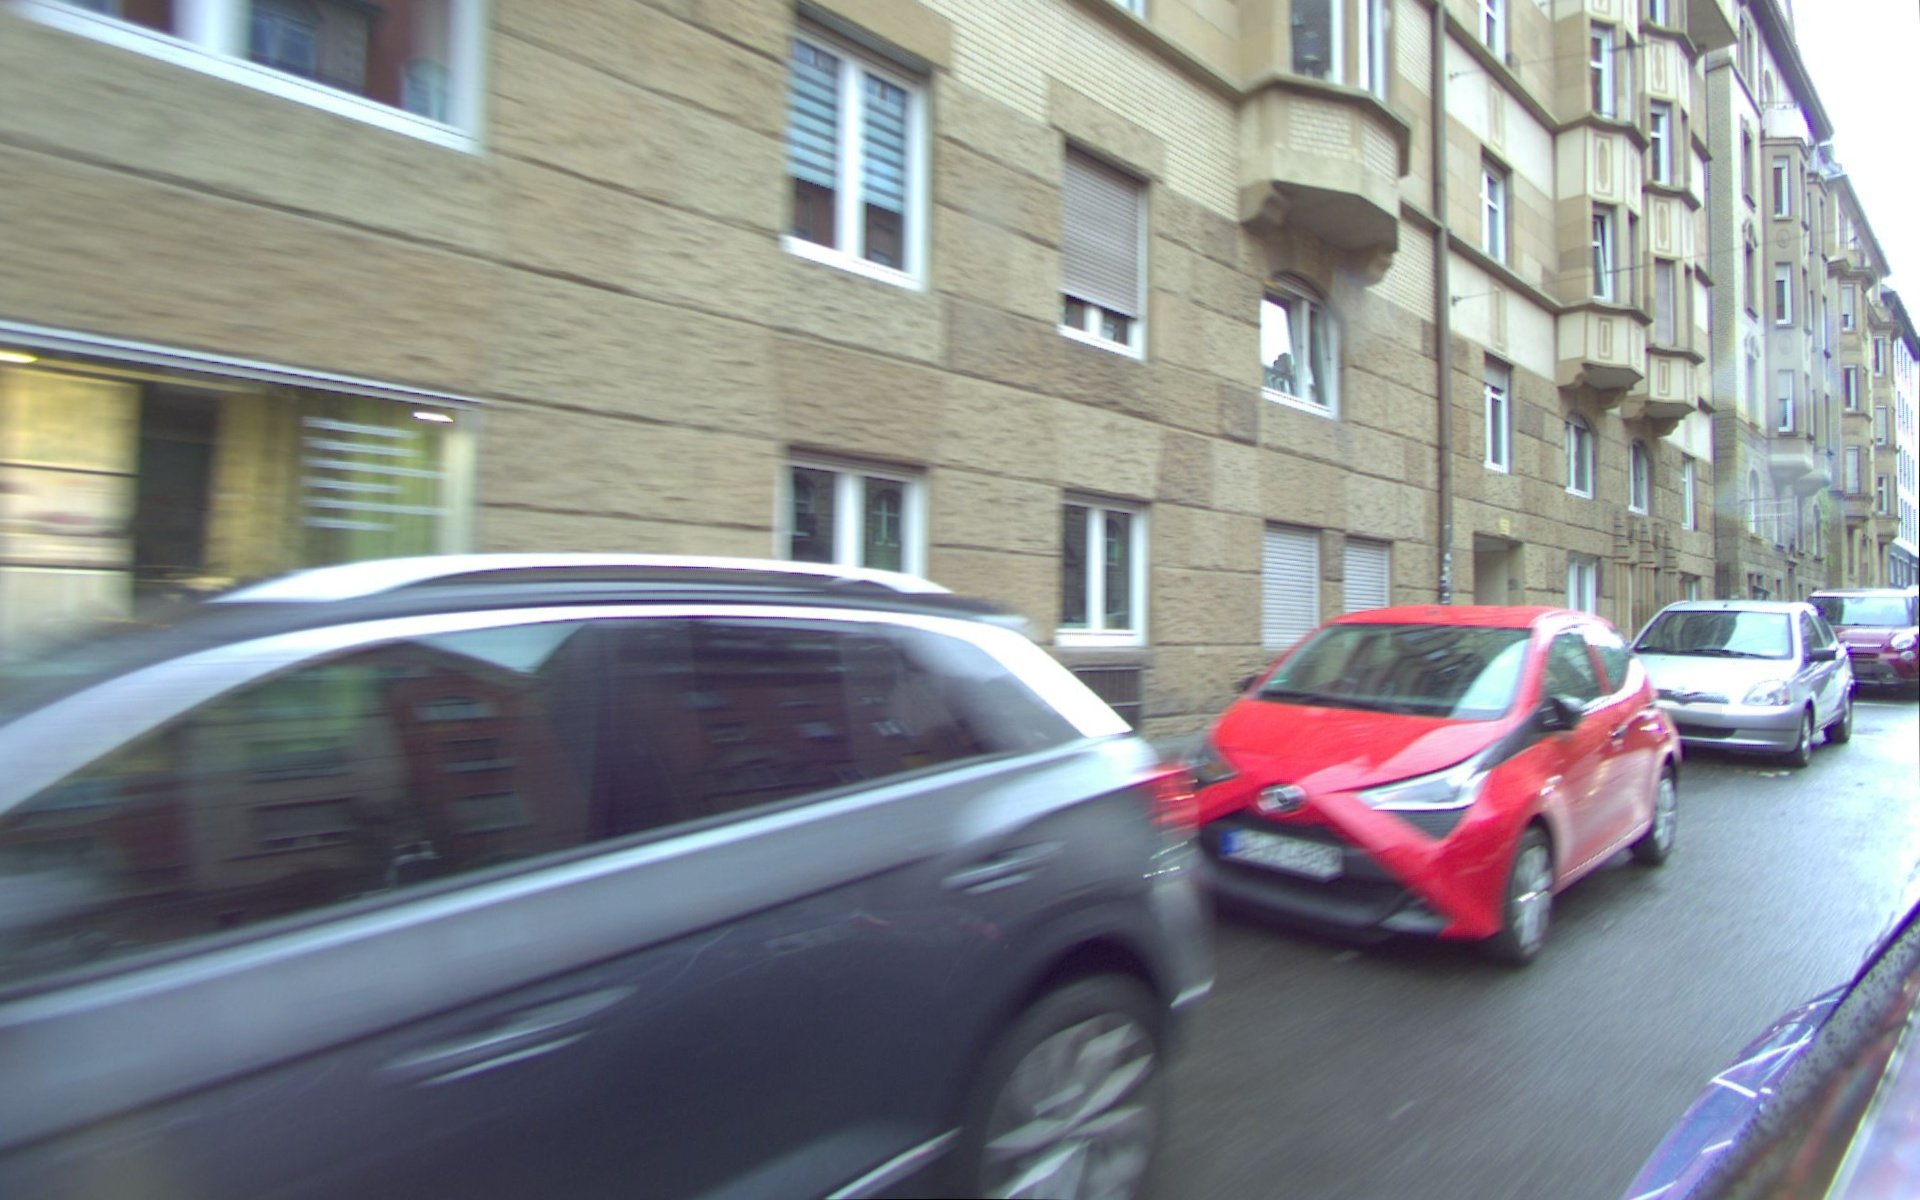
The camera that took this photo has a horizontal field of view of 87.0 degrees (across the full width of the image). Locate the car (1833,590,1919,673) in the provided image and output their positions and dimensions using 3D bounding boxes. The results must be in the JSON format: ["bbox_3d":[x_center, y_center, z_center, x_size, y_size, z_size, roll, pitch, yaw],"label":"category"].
[{"bbox_3d":[18.775,0.578,20.213,3.471,1.530,1.630,0,-1,-43],"label":"car"}]

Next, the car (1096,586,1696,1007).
[{"bbox_3d":[2.486,0.690,5.382,3.474,1.471,1.706,0,-1,-44],"label":"car"}]

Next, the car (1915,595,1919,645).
[{"bbox_3d":[29.481,0.547,29.563,3.913,1.406,1.929,0,-1,-41],"label":"car"}]

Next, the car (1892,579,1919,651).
[{"bbox_3d":[25.632,0.373,26.197,3.893,1.791,1.809,0,0,-41],"label":"car"}]

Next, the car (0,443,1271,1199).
[{"bbox_3d":[-1.329,0.640,1.893,3.921,1.568,1.870,0,-1,-41],"label":"car"}]

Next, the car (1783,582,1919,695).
[{"bbox_3d":[14.810,0.535,16.397,3.932,1.621,1.771,0,1,-43],"label":"car"}]

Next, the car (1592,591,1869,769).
[{"bbox_3d":[7.948,0.670,10.346,3.461,1.505,1.597,0,1,-41],"label":"car"}]
